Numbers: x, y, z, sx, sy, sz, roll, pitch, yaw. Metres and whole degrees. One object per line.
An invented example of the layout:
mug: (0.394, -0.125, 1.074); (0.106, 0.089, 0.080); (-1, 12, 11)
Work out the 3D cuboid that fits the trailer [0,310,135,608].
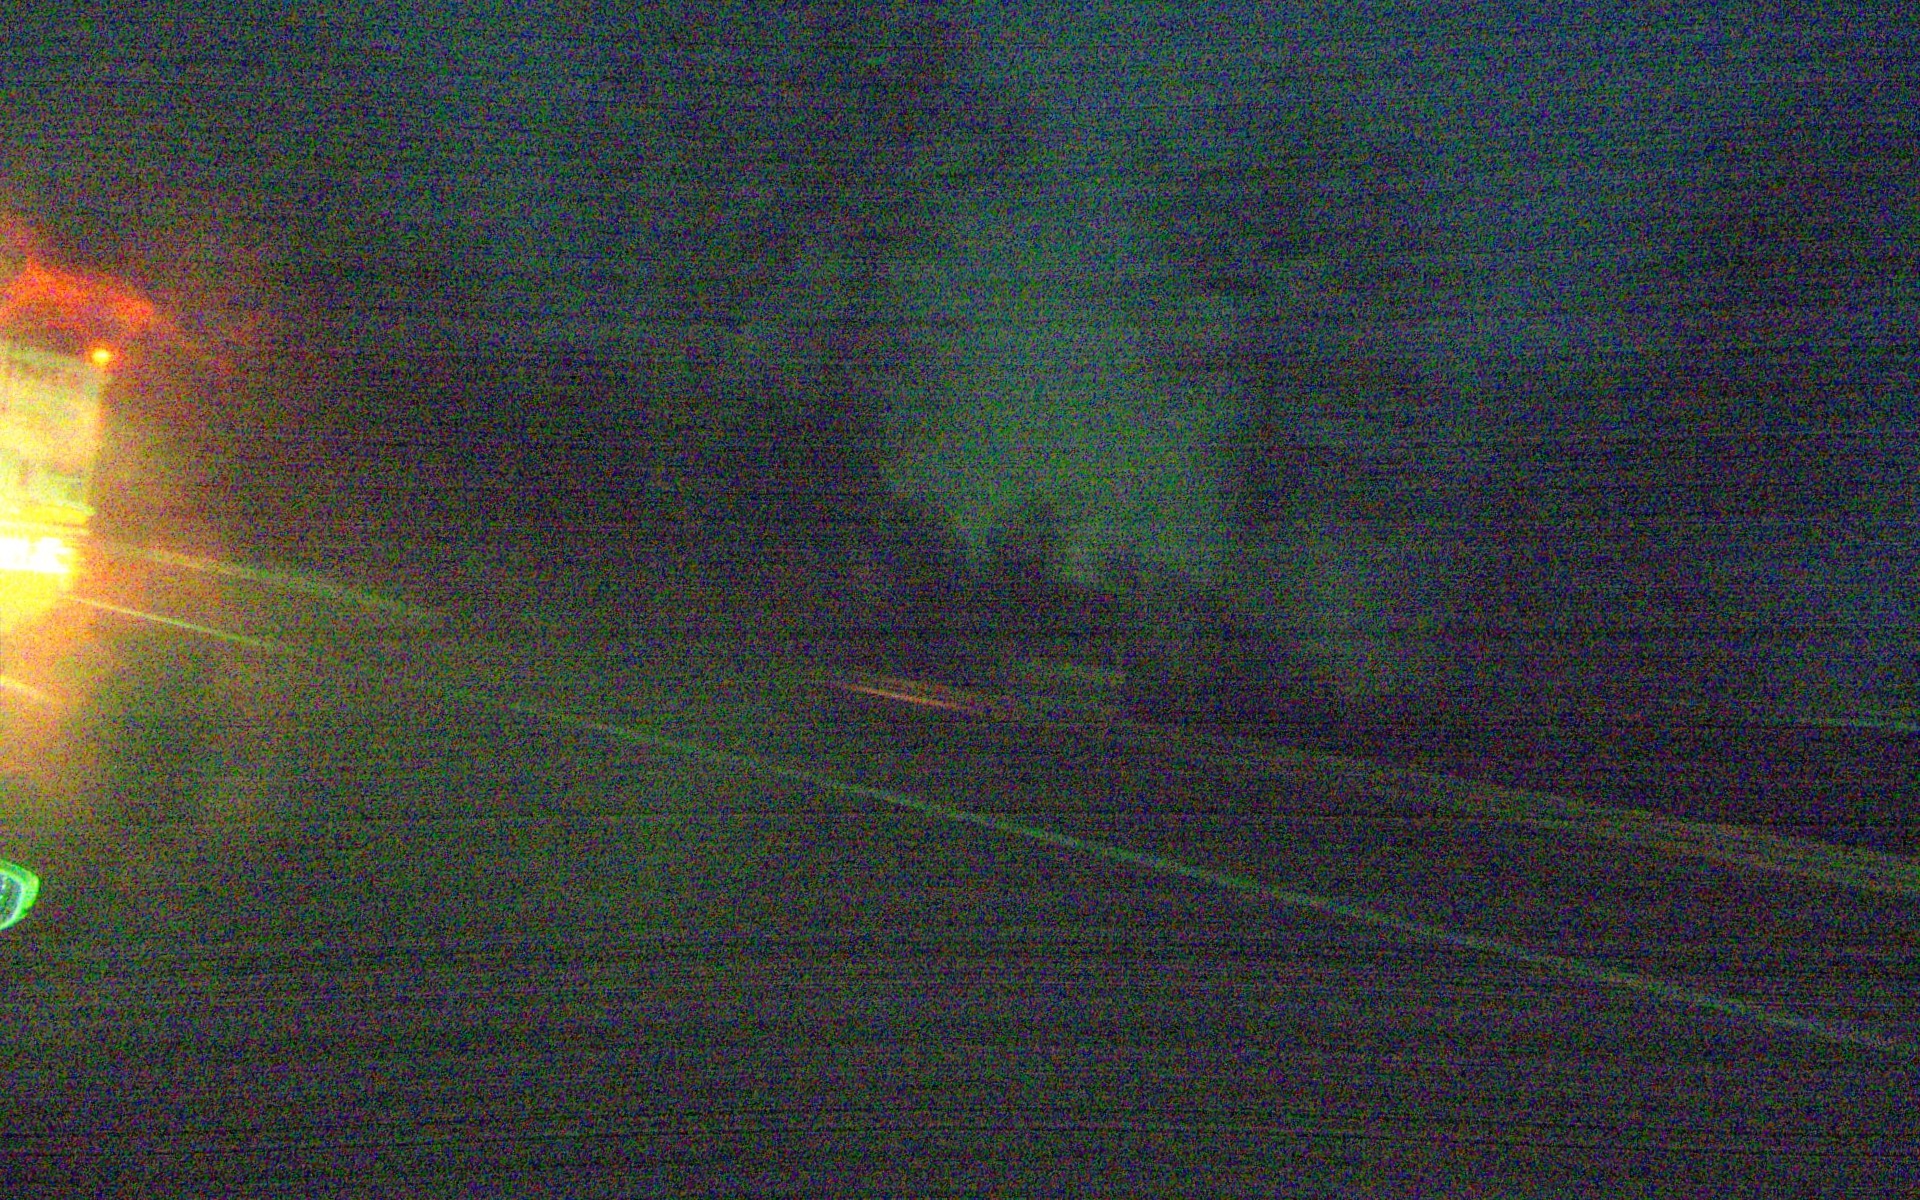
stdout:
trailer: (-19.918, -2.776, 18.129); (13.139, 4.301, 2.744); (7, 1, 28)
